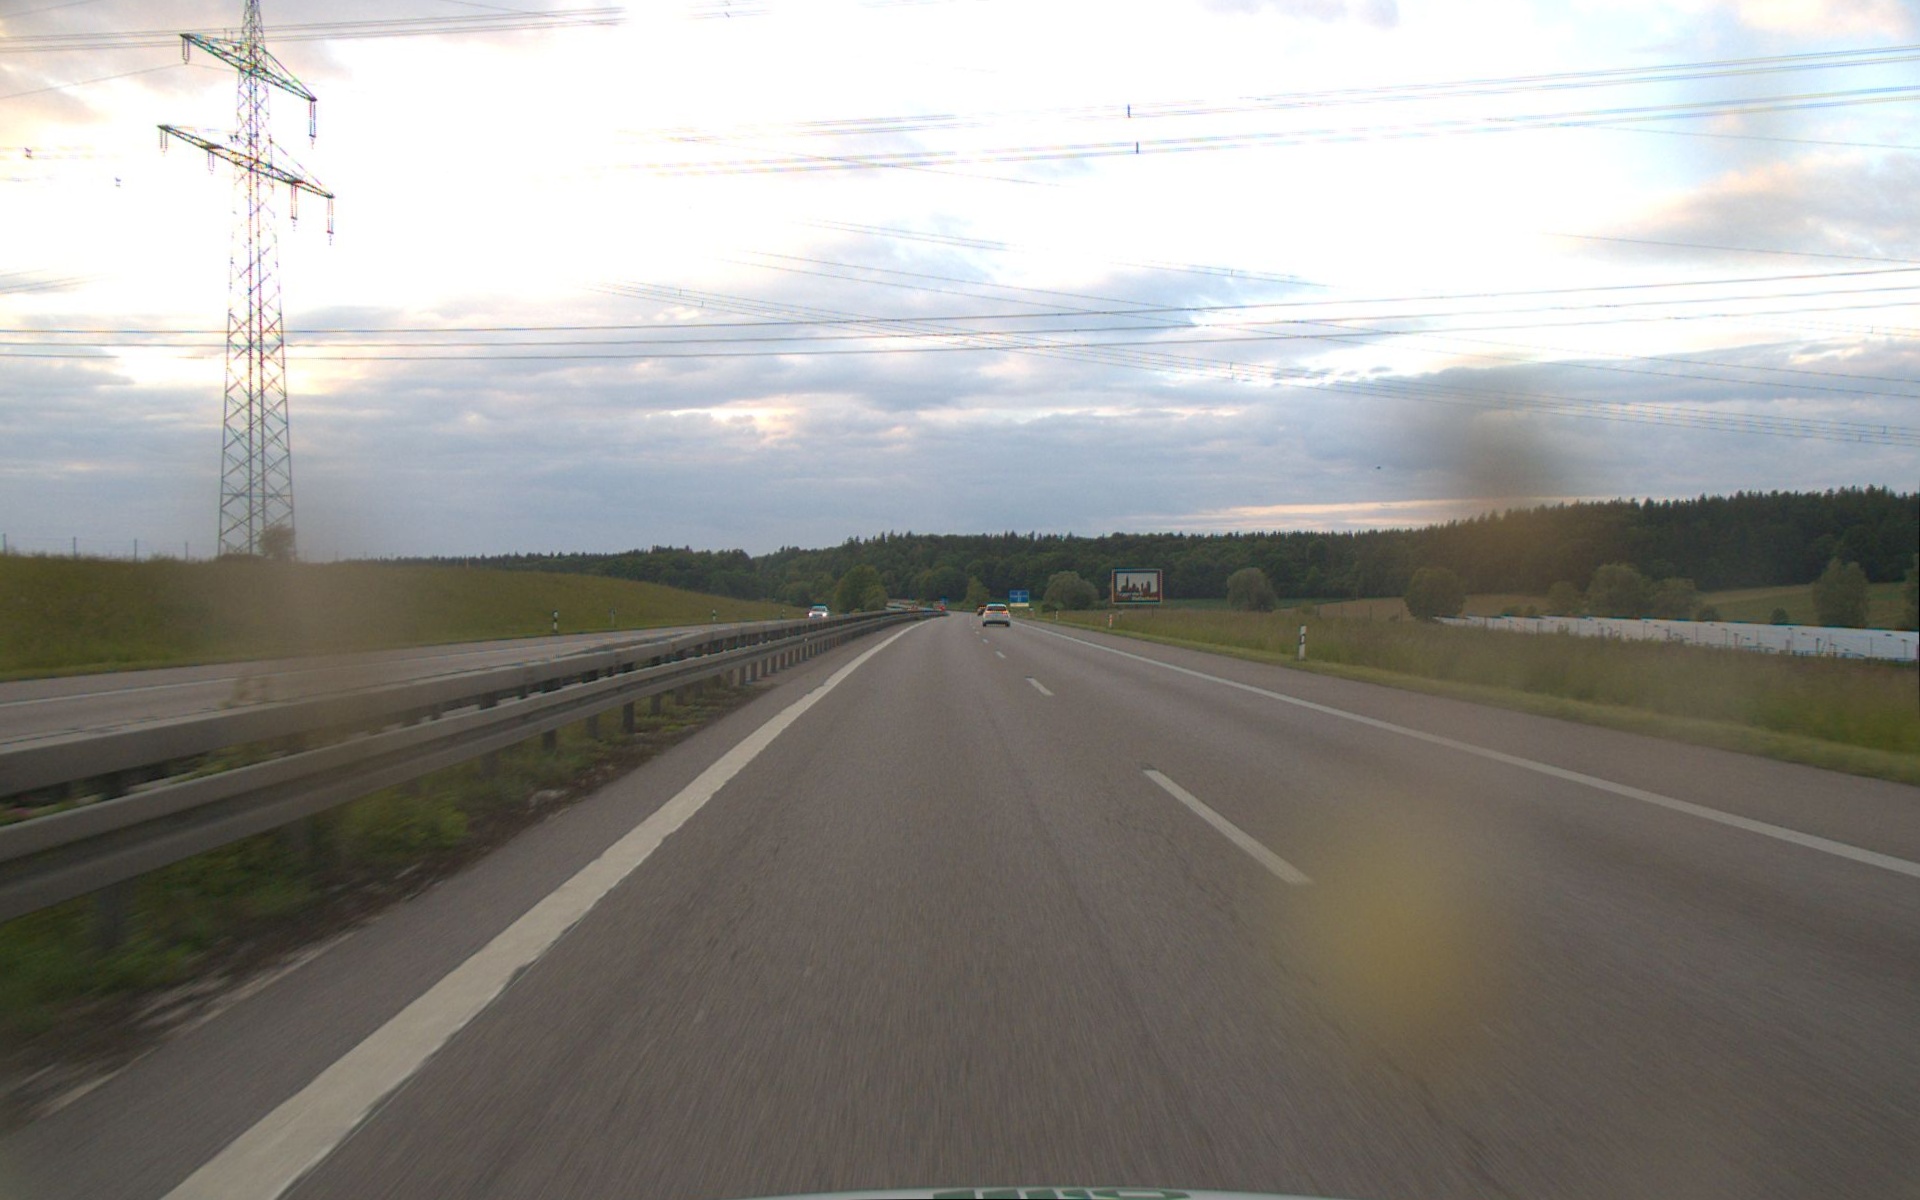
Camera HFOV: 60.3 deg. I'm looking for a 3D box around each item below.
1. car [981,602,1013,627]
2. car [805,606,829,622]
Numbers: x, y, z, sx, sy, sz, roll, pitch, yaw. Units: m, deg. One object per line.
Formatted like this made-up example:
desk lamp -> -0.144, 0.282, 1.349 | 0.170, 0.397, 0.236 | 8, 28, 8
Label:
car -> 2.414, 0.960, 109.266 | 1.912, 1.558, 4.079 | 1, 0, -2
car -> -13.997, 1.328, 162.098 | 1.729, 1.508, 5.334 | 1, 0, 0
